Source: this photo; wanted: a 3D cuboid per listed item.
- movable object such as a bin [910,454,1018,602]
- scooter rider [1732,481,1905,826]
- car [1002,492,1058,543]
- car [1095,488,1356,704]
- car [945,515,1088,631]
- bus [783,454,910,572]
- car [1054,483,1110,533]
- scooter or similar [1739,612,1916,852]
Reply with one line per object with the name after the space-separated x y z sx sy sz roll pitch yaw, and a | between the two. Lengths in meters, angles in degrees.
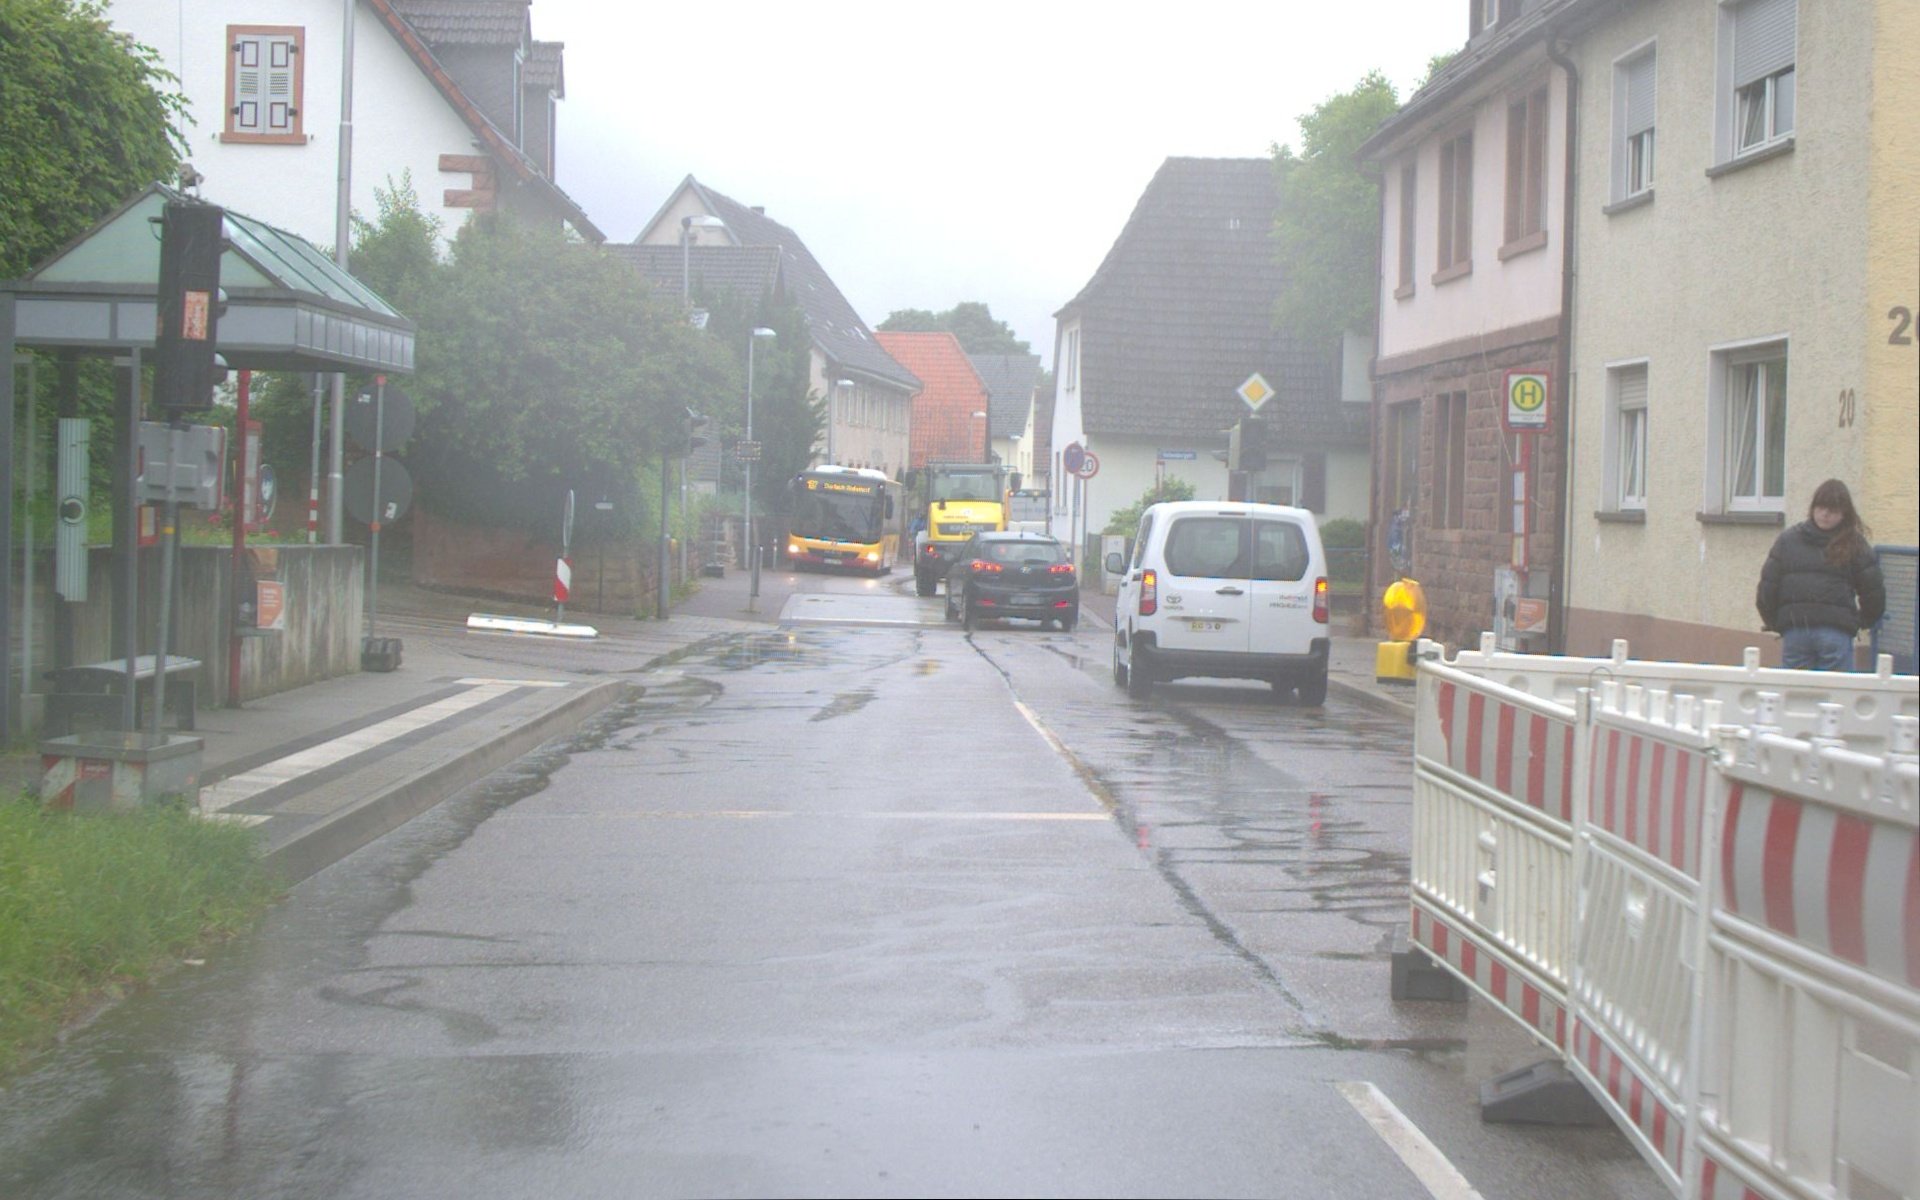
0.042 -1.382 65.413 1.727 2.644 3.975 3 1 -3 | movable object such as a bin
4.435 0.269 17.794 0.731 1.727 0.518 2 0 5 | scooter rider
2.858 -3.341 139.243 1.994 2.007 3.999 1 1 5 | car
2.401 -0.086 32.058 1.894 1.787 3.814 3 1 -2 | car
0.831 -0.437 52.503 1.809 1.591 3.756 3 1 -4 | car
-3.141 -2.606 98.679 2.650 2.989 12.193 3 3 2 | bus
4.495 -3.380 126.672 1.851 1.788 3.999 1 1 5 | car
4.394 0.648 17.490 0.620 1.123 1.401 2 1 5 | scooter or similar
